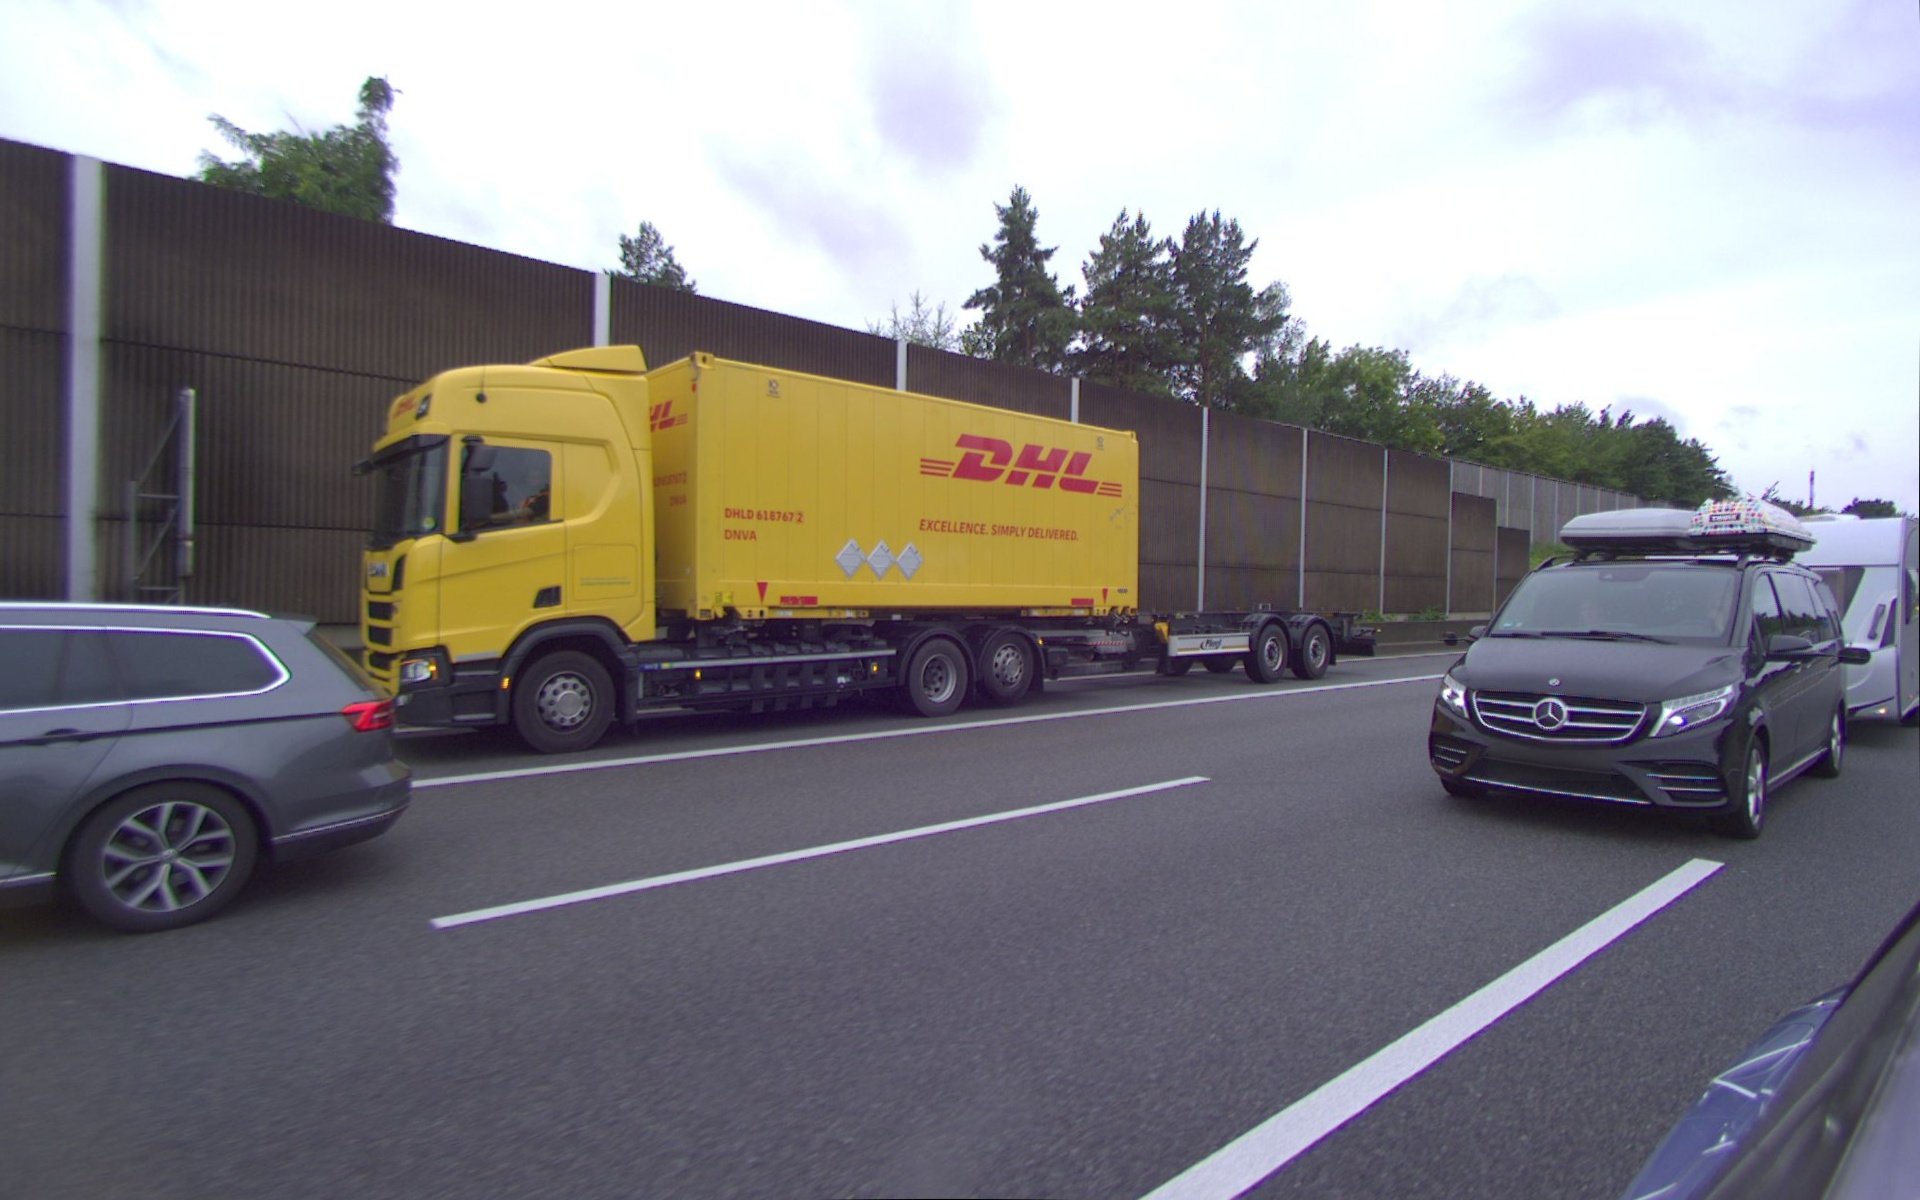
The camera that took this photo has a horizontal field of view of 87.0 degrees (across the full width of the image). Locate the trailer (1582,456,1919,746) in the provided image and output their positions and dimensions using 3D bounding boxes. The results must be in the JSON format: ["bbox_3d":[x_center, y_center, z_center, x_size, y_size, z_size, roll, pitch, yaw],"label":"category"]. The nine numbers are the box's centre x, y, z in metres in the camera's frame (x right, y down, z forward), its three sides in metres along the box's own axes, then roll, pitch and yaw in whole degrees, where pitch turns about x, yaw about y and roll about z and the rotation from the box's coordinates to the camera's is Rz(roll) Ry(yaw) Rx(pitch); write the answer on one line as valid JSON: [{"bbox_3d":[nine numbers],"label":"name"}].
[{"bbox_3d":[10.697,-0.016,12.823,7.380,2.675,2.726,0,1,-41],"label":"trailer"}]

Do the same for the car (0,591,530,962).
[{"bbox_3d":[-4.828,0.695,4.312,5.196,1.445,1.943,0,-1,-41],"label":"car"}]

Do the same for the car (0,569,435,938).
[{"bbox_3d":[-4.841,0.623,4.285,4.393,1.475,1.665,0,0,-42],"label":"car"}]

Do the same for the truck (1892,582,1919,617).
[{"bbox_3d":[98.581,-0.076,105.122,3.934,3.508,2.417,0,1,-44],"label":"truck"}]

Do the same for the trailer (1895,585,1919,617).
[{"bbox_3d":[102.776,0.122,108.992,9.243,3.288,2.449,0,1,-44],"label":"trailer"}]

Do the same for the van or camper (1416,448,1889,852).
[{"bbox_3d":[5.955,0.269,8.322,5.580,2.298,1.894,0,0,-41],"label":"van or camper"}]

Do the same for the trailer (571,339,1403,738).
[{"bbox_3d":[2.297,-0.666,16.645,16.400,4.003,2.654,0,0,-42],"label":"trailer"}]

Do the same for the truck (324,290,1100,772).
[{"bbox_3d":[-2.281,-0.600,12.509,9.167,4.008,2.689,0,0,-42],"label":"truck"}]
